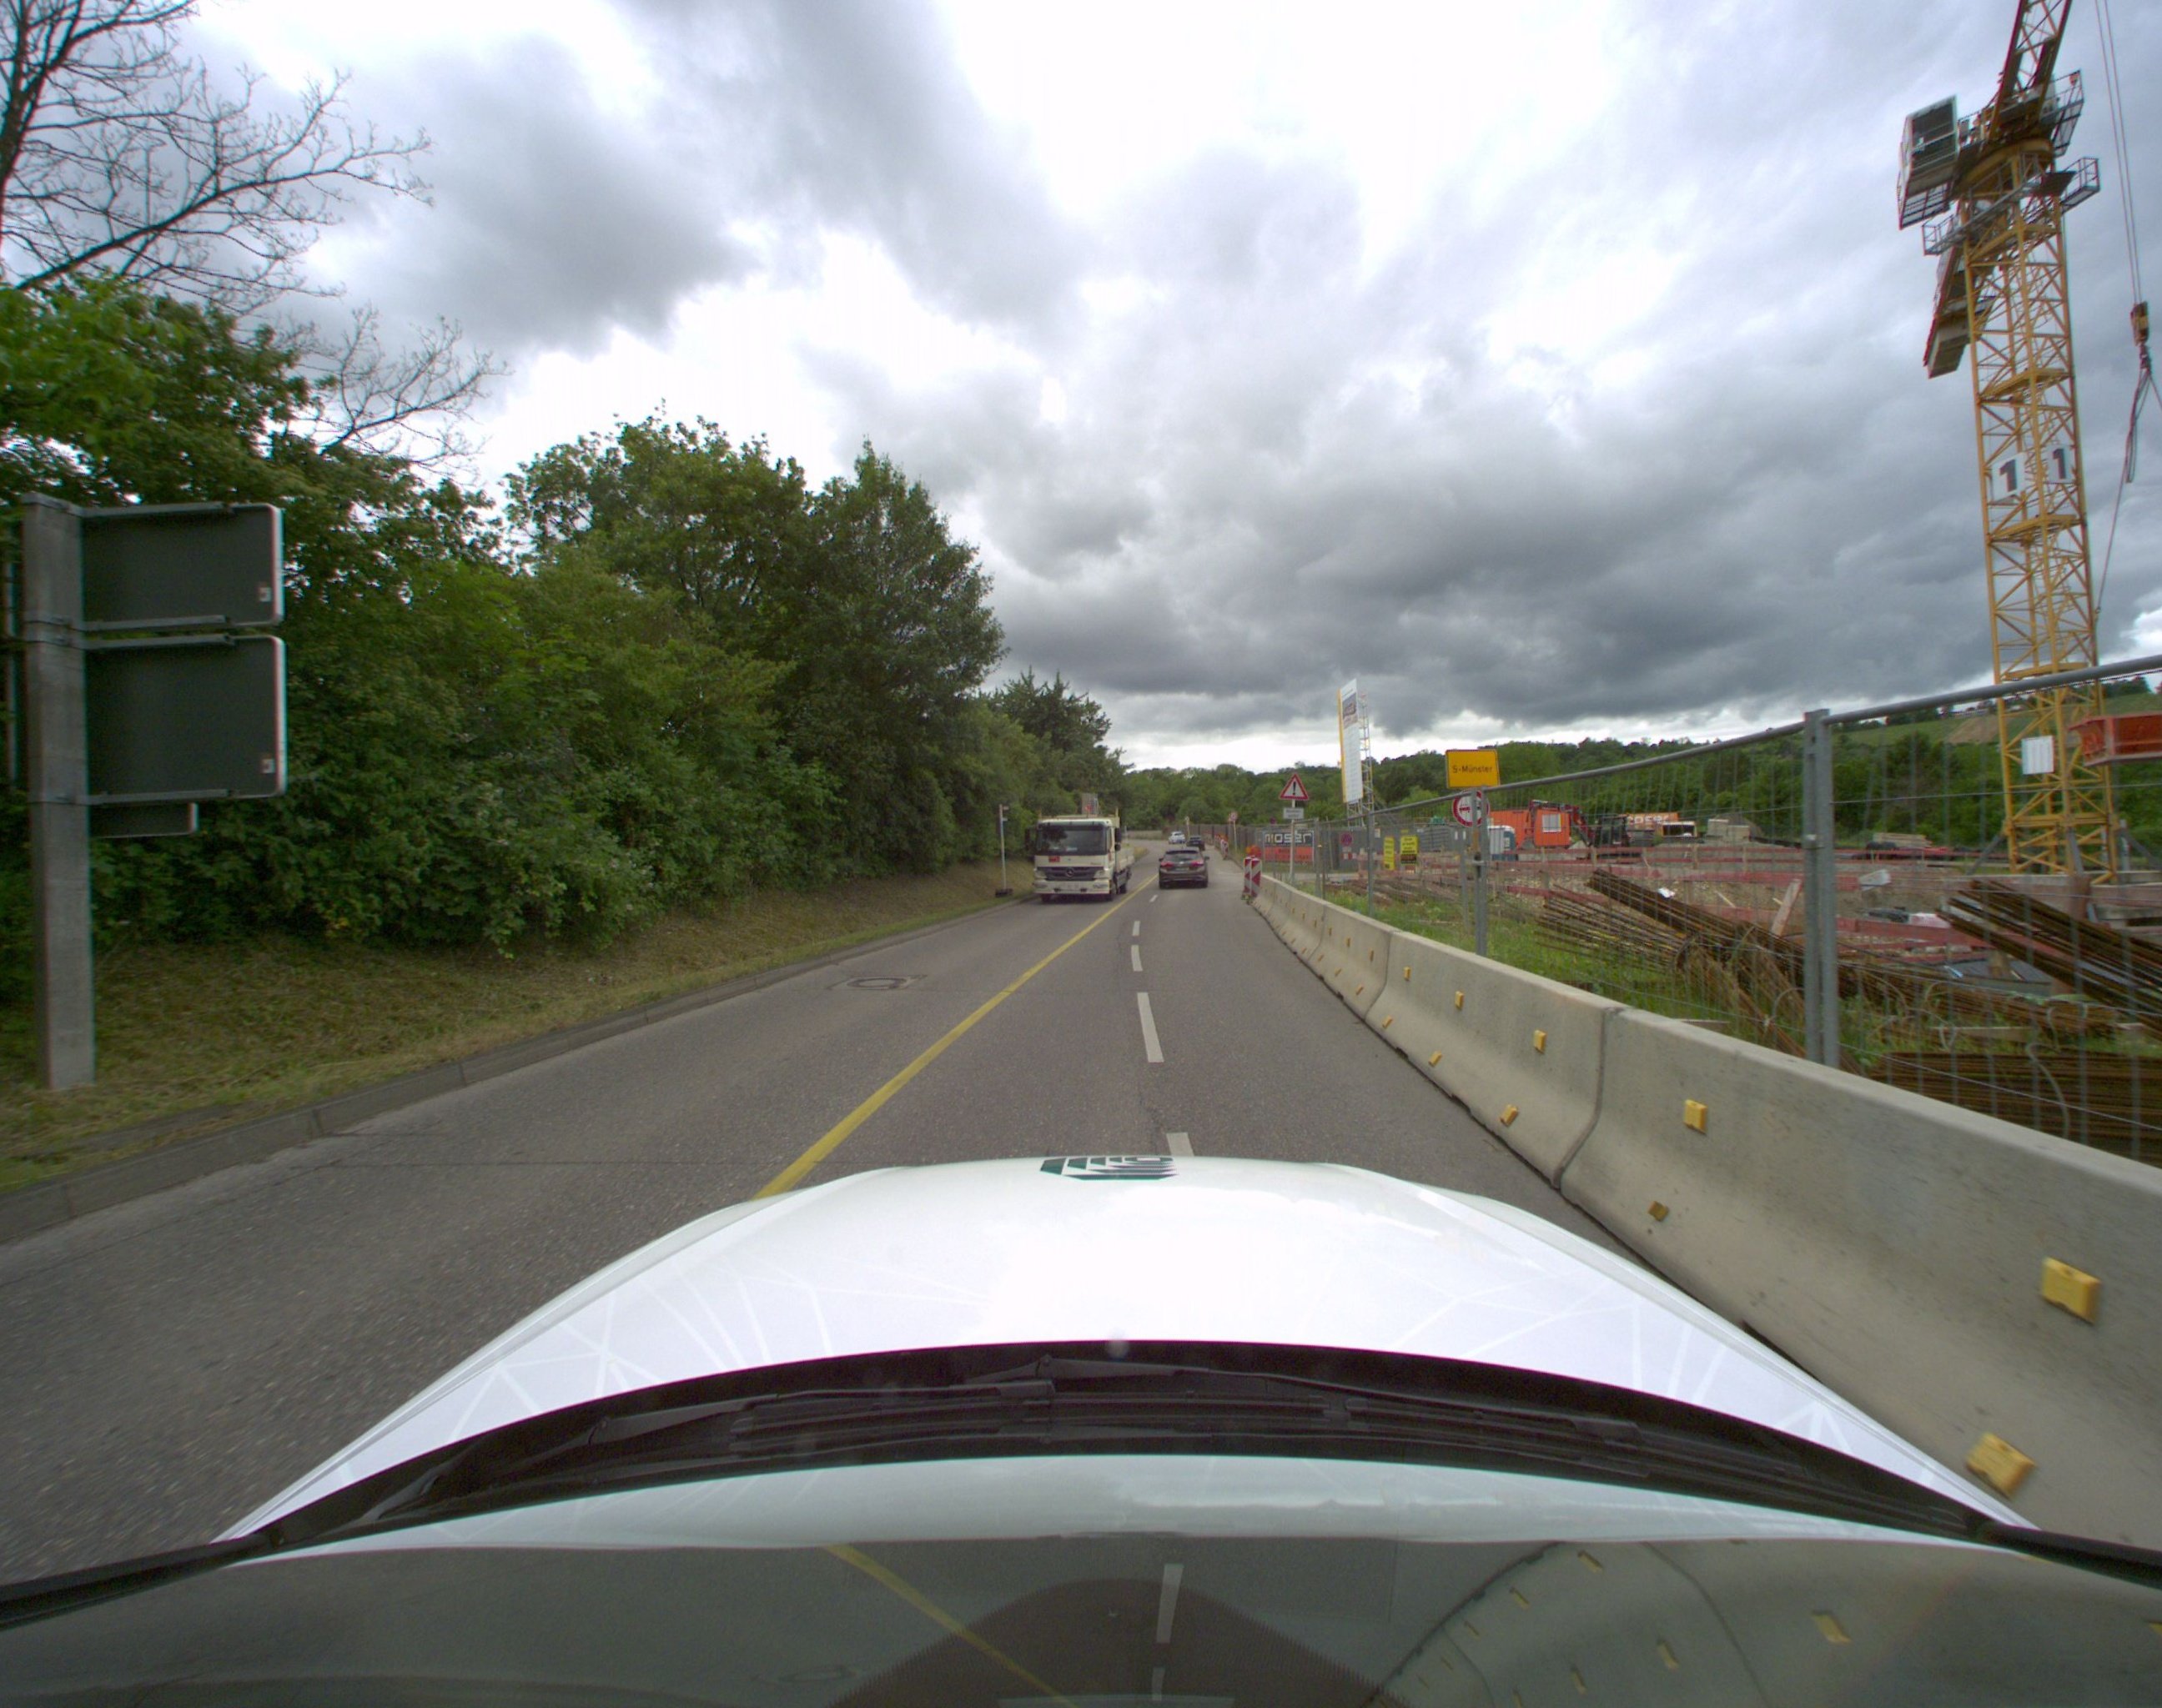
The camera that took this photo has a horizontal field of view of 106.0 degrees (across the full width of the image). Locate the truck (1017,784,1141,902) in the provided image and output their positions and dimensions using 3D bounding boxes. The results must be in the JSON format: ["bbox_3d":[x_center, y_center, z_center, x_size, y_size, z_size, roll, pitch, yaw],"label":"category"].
[{"bbox_3d":[0.244,-0.403,27.471,2.803,3.335,8.403,-1,1,9],"label":"truck"}]

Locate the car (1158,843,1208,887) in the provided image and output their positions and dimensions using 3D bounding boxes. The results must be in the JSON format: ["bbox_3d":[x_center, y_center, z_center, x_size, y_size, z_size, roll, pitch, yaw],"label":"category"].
[{"bbox_3d":[3.982,0.383,31.316,1.787,1.552,4.010,-1,1,9],"label":"car"}]

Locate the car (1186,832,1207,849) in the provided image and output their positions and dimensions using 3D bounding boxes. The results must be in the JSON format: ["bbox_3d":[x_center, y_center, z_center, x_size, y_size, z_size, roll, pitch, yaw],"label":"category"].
[{"bbox_3d":[11.111,-1.305,78.039,1.808,1.552,3.799,-1,0,10],"label":"car"}]

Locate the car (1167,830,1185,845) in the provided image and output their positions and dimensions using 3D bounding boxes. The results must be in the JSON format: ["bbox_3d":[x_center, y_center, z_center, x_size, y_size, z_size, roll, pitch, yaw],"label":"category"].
[{"bbox_3d":[12.071,-2.060,103.429,1.706,1.675,3.999,-3,-1,0],"label":"car"}]

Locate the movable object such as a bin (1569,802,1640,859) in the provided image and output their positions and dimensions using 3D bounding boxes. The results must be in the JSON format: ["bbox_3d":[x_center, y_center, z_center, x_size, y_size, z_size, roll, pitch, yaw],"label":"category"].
[{"bbox_3d":[30.313,-1.337,47.239,2.776,3.077,1.845,-3,-1,7],"label":"movable object such as a bin"}]
